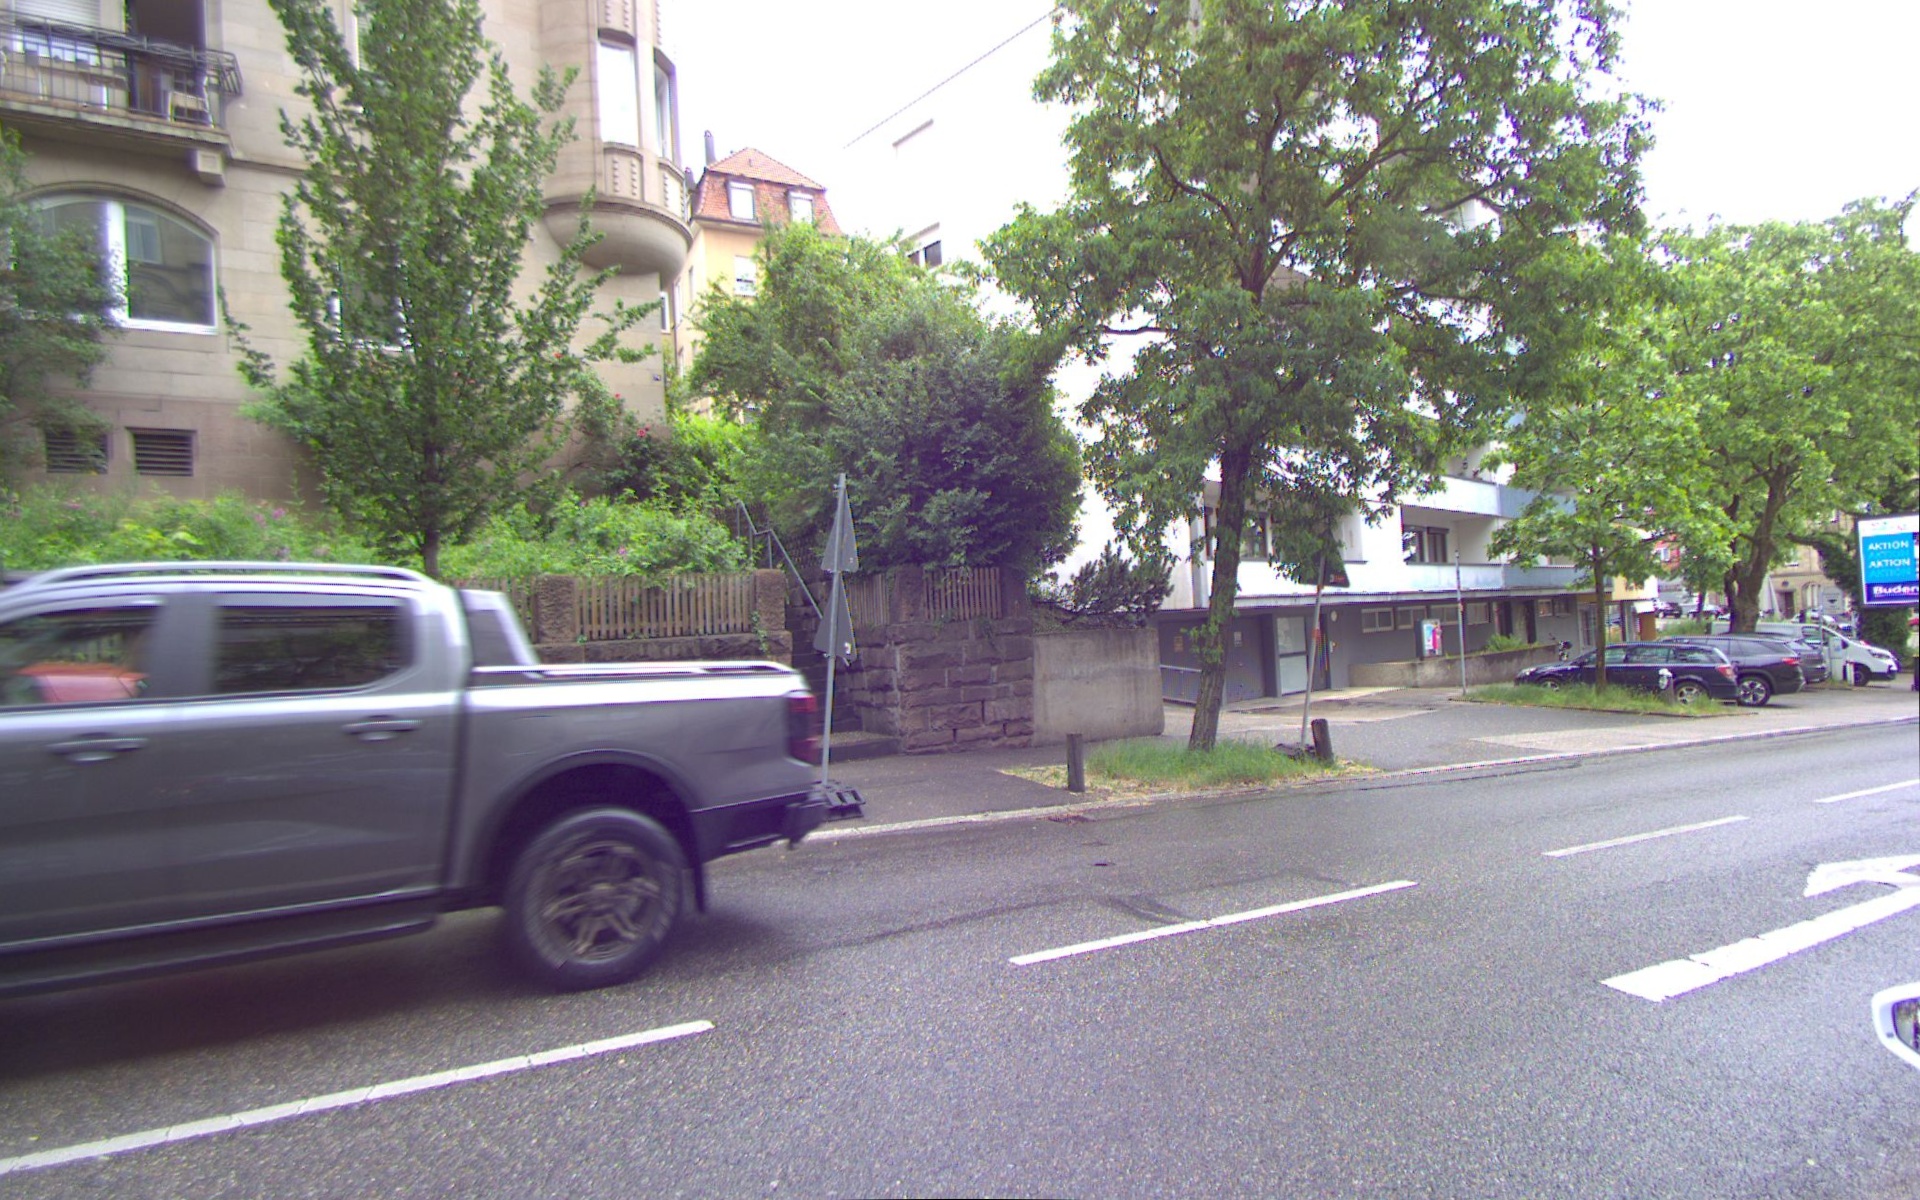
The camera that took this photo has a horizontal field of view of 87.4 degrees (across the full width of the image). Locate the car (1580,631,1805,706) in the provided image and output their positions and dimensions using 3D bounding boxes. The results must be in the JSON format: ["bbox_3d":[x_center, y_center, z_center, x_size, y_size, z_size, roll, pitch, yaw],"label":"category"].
[{"bbox_3d":[18.081,1.689,24.968,4.312,1.694,1.848,-3,-4,38],"label":"car"}]

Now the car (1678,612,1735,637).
[{"bbox_3d":[68.600,2.233,92.407,1.961,2.130,4.291,-1,1,-1],"label":"car"}]

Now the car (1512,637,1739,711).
[{"bbox_3d":[15.662,1.716,23.759,4.303,1.594,1.935,-3,-4,38],"label":"car"}]

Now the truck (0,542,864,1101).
[{"bbox_3d":[-3.192,0.806,4.574,5.093,1.859,2.061,1,-4,-30],"label":"truck"}]

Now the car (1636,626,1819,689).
[{"bbox_3d":[23.315,1.712,30.639,4.305,1.807,1.931,-2,-3,40],"label":"car"}]

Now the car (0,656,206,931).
[{"bbox_3d":[-6.830,1.084,5.571,4.015,1.470,1.606,1,-2,-30],"label":"car"}]

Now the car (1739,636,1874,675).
[{"bbox_3d":[32.830,2.129,39.097,3.925,1.469,1.761,-2,-3,40],"label":"car"}]

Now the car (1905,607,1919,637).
[{"bbox_3d":[66.892,1.441,67.972,1.981,2.040,3.960,1,-4,-37],"label":"car"}]

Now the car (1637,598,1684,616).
[{"bbox_3d":[68.795,0.671,98.708,1.694,1.711,3.999,2,0,-2],"label":"car"}]

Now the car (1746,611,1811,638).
[{"bbox_3d":[69.378,2.035,85.184,1.961,2.130,4.291,-1,1,-1],"label":"car"}]

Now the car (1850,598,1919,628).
[{"bbox_3d":[69.317,0.959,74.952,1.961,2.130,4.291,-1,1,-1],"label":"car"}]

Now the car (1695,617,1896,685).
[{"bbox_3d":[27.699,1.673,33.522,5.000,2.132,1.983,-2,-3,40],"label":"car"}]
